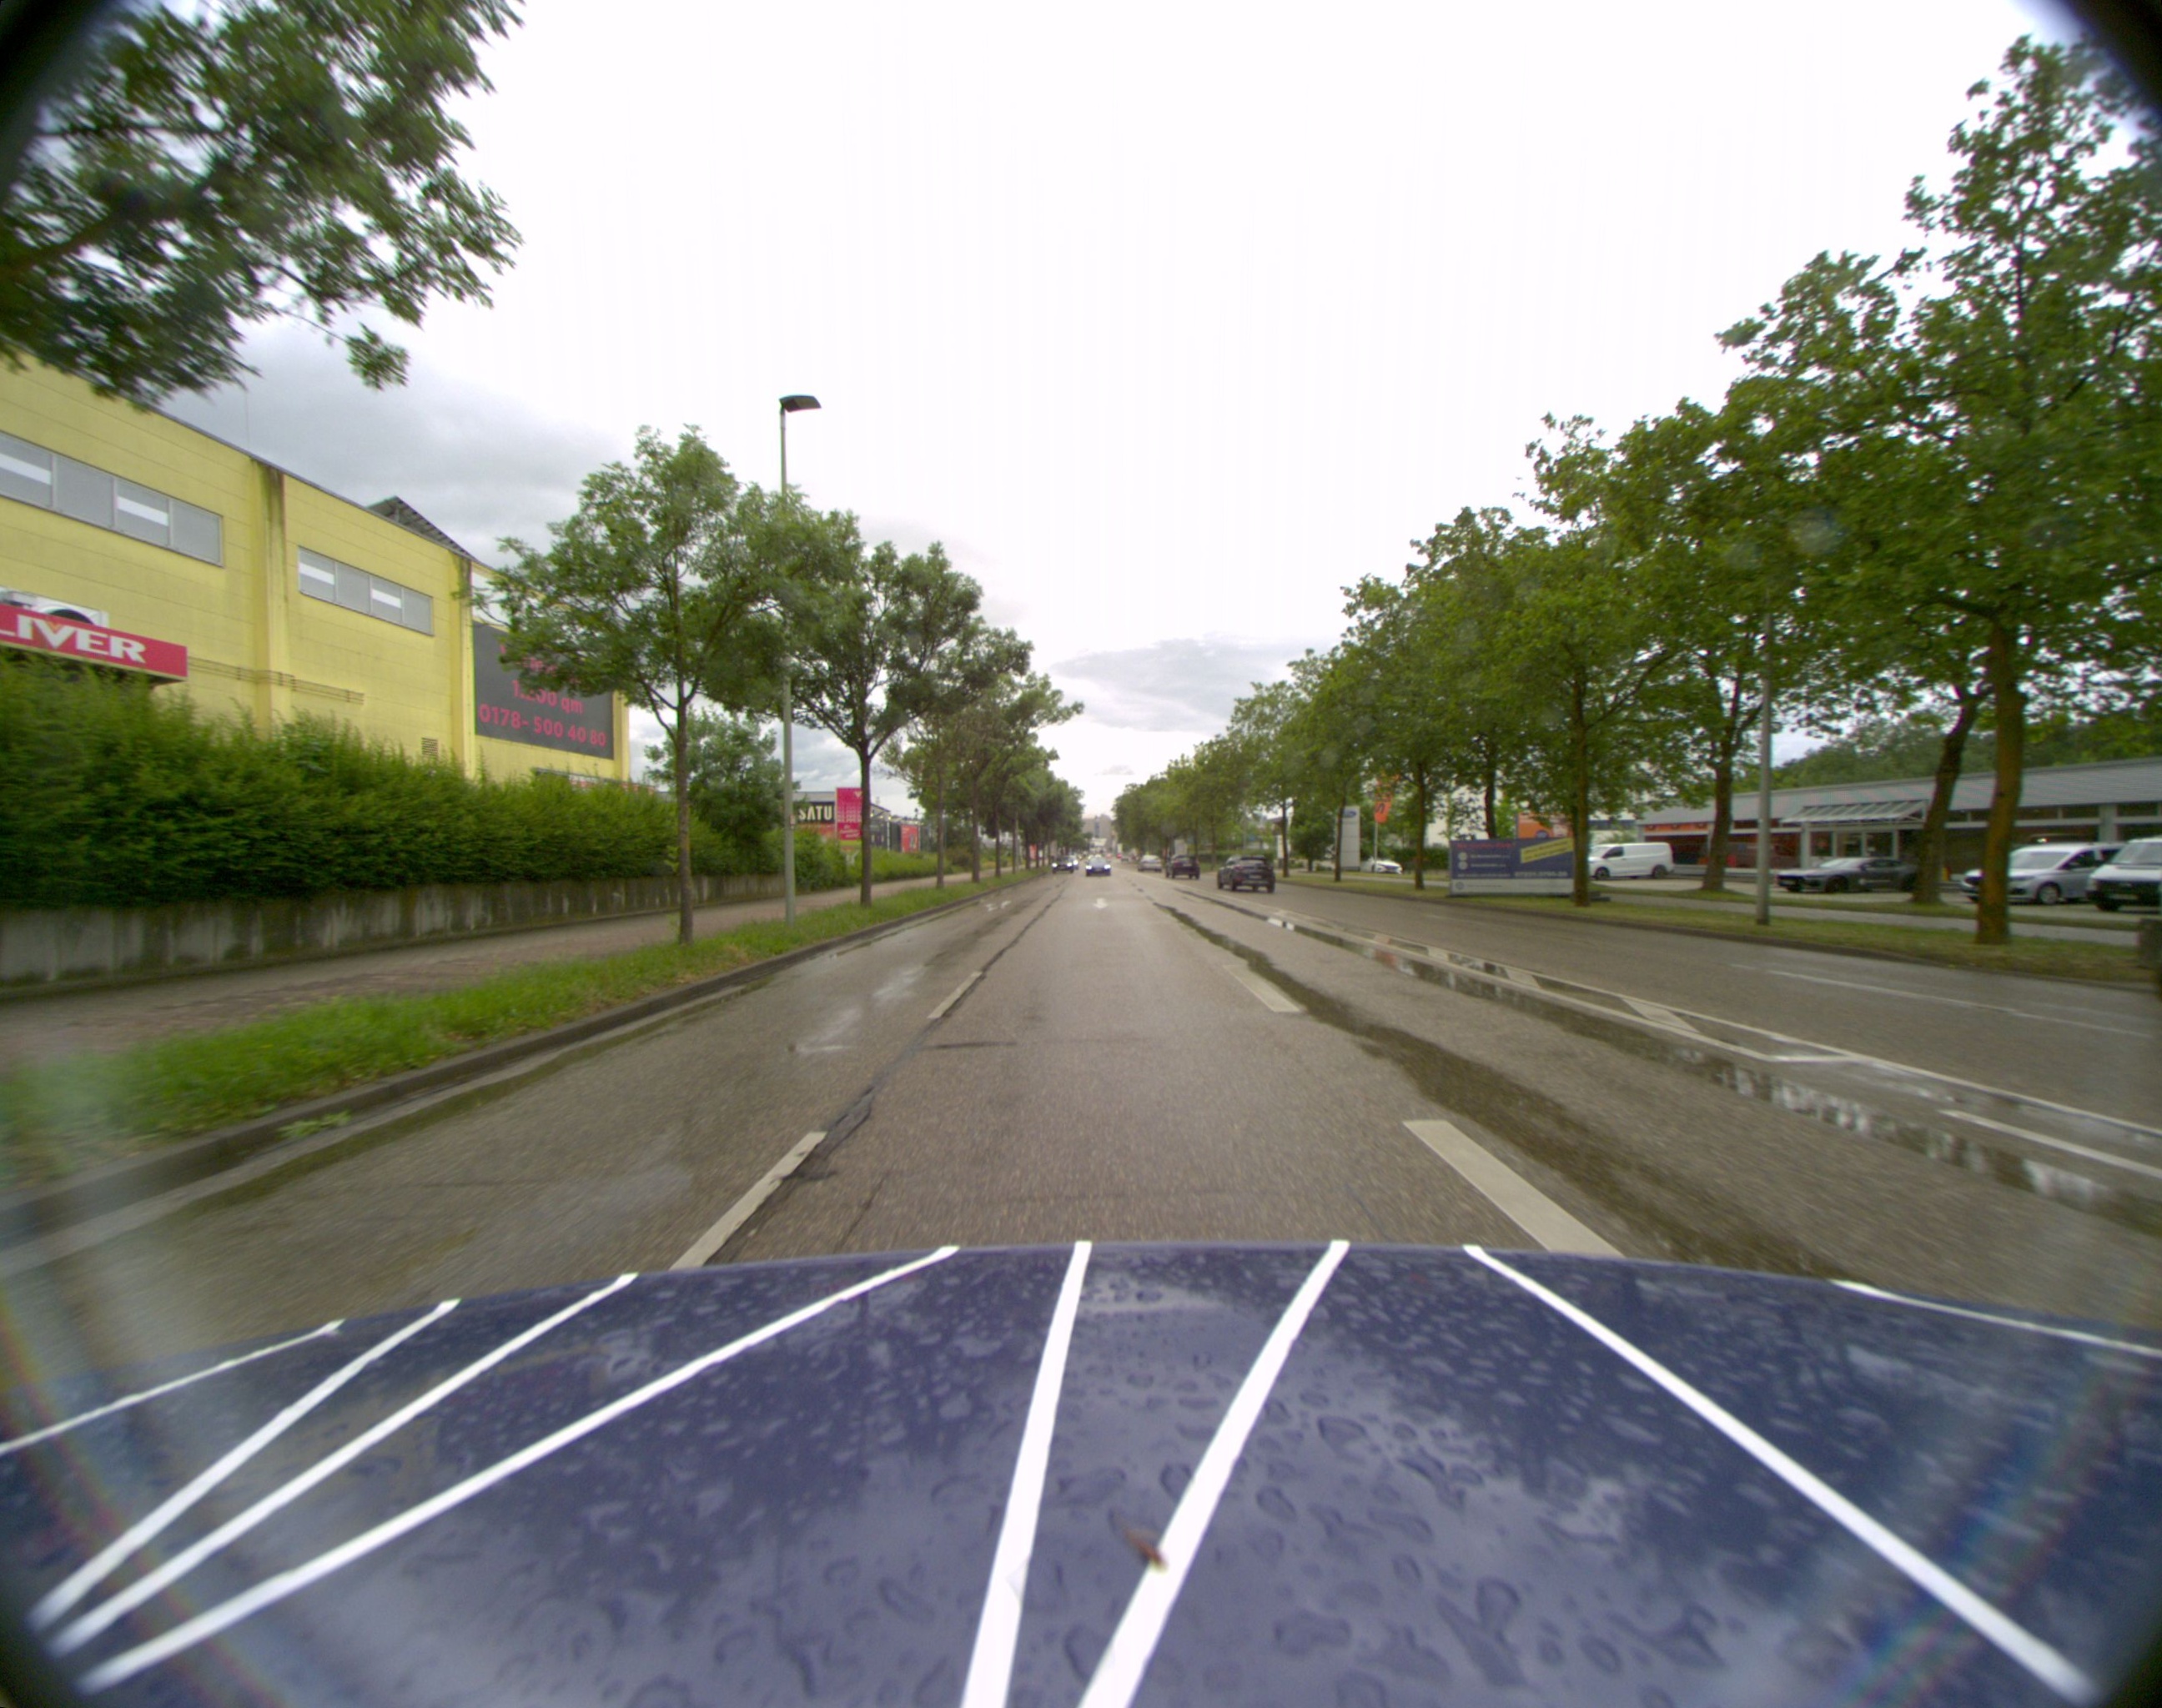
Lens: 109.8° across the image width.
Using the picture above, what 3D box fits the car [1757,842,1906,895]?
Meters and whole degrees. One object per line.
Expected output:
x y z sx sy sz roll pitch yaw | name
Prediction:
29.274 0.540 29.722 3.997 2.002 1.882 0 0 -1 | car

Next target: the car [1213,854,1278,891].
6.841 0.724 31.934 1.671 1.453 4.179 1 0 -2 | car

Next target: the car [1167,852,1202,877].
6.612 0.622 48.721 1.767 1.522 3.858 1 0 1 | car

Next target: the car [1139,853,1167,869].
6.421 0.595 68.152 1.999 1.421 4.684 1 0 0 | car

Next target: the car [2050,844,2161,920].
29.605 0.683 19.975 5.390 1.892 2.415 0 0 -2 | car

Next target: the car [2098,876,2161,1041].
10.304 0.927 4.755 1.741 1.421 4.536 1 0 -1 | car

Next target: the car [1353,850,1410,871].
21.984 0.456 55.903 2.123 1.487 5.246 0 0 0 | car

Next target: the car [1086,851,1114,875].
1.471 0.674 58.291 1.998 1.632 4.360 -2 1 1 | car

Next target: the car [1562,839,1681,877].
29.488 0.188 41.574 5.058 2.002 2.129 0 0 -1 | car

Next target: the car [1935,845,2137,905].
29.559 0.620 23.611 3.997 1.756 1.882 0 0 -1 | car

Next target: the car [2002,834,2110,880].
41.003 0.097 31.966 3.890 1.734 1.908 -2 1 -24 | car

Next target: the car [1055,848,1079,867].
-1.280 0.334 70.742 1.998 1.632 4.360 -2 1 1 | car

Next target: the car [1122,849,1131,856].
11.264 -0.367 188.427 1.916 1.795 5.340 1 0 0 | car
